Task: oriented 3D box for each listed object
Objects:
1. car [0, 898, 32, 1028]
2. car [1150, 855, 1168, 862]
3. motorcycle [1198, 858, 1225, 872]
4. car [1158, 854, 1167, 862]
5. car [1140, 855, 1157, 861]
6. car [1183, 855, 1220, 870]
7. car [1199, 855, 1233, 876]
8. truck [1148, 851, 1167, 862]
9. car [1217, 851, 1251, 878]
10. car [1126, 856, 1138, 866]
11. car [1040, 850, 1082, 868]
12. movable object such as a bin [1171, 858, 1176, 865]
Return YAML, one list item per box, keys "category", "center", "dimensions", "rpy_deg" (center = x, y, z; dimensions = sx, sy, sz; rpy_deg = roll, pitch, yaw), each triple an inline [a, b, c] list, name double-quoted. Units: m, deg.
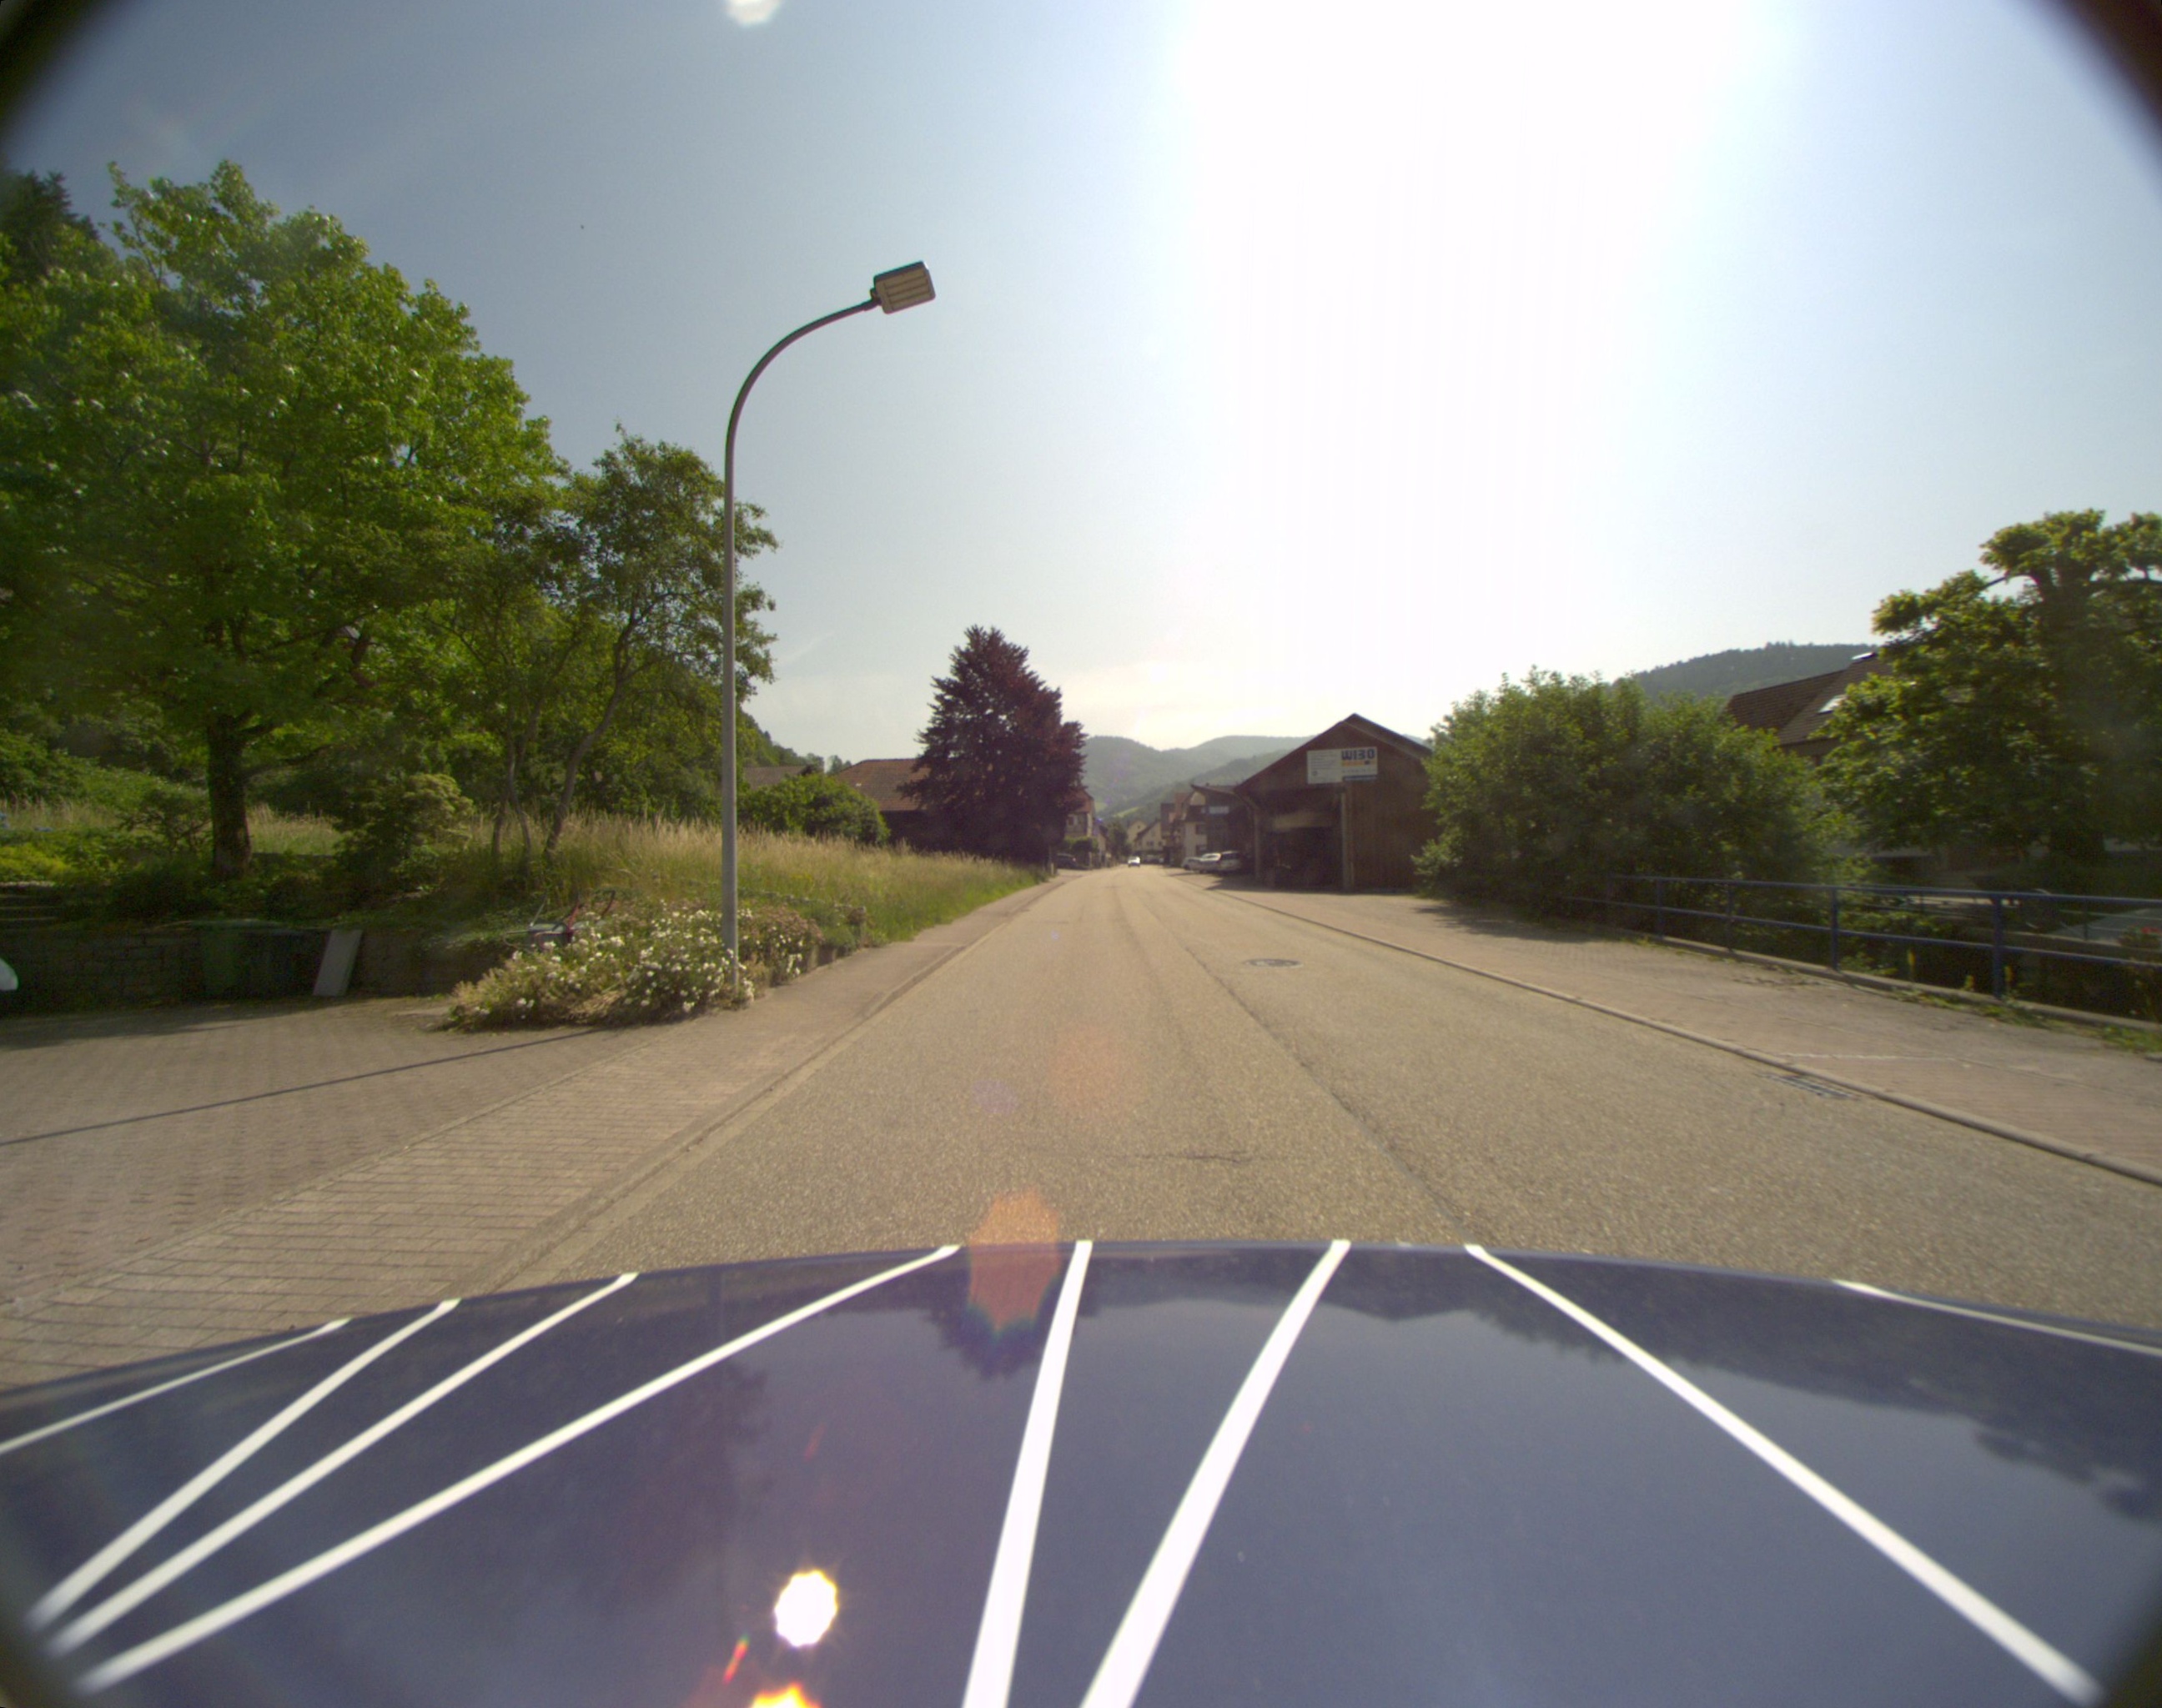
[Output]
- category: "car"
  center: [-14.232, 1.312, 8.357]
  dimensions: [3.225, 1.489, 1.755]
  rpy_deg: [-1, 0, 6]
- category: "car"
  center: [17.952, 0.994, 175.140]
  dimensions: [4.104, 1.494, 1.754]
  rpy_deg: [-1, 0, 4]
- category: "motorcycle"
  center: [12.352, 1.029, 72.048]
  dimensions: [2.412, 1.257, 0.744]
  rpy_deg: [0, 0, 16]
- category: "car"
  center: [17.995, 0.914, 167.276]
  dimensions: [1.774, 1.544, 4.287]
  rpy_deg: [-2, 0, 3]
- category: "car"
  center: [16.696, 0.946, 187.282]
  dimensions: [3.994, 1.563, 1.578]
  rpy_deg: [1, 0, 7]
- category: "car"
  center: [13.067, 0.910, 82.347]
  dimensions: [3.661, 1.377, 1.714]
  rpy_deg: [3, 1, 21]
- category: "car"
  center: [10.284, 0.885, 57.584]
  dimensions: [1.731, 1.445, 4.812]
  rpy_deg: [-2, -1, 20]
- category: "truck"
  center: [18.101, 0.593, 180.123]
  dimensions: [4.176, 2.253, 2.000]
  rpy_deg: [-2, 0, 0]
- category: "car"
  center: [9.822, 0.641, 48.504]
  dimensions: [1.583, 1.560, 4.028]
  rpy_deg: [-4, -1, 18]
- category: "car"
  center: [8.507, 1.128, 127.647]
  dimensions: [1.998, 1.672, 4.001]
  rpy_deg: [0, 0, 3]
- category: "car"
  center: [-2.153, 0.590, 83.510]
  dimensions: [4.227, 1.677, 1.778]
  rpy_deg: [4, 1, 9]
- category: "movable object such as a bin"
  center: [14.037, 1.097, 114.832]
  dimensions: [0.677, 1.060, 0.621]
  rpy_deg: [-1, 0, 4]
